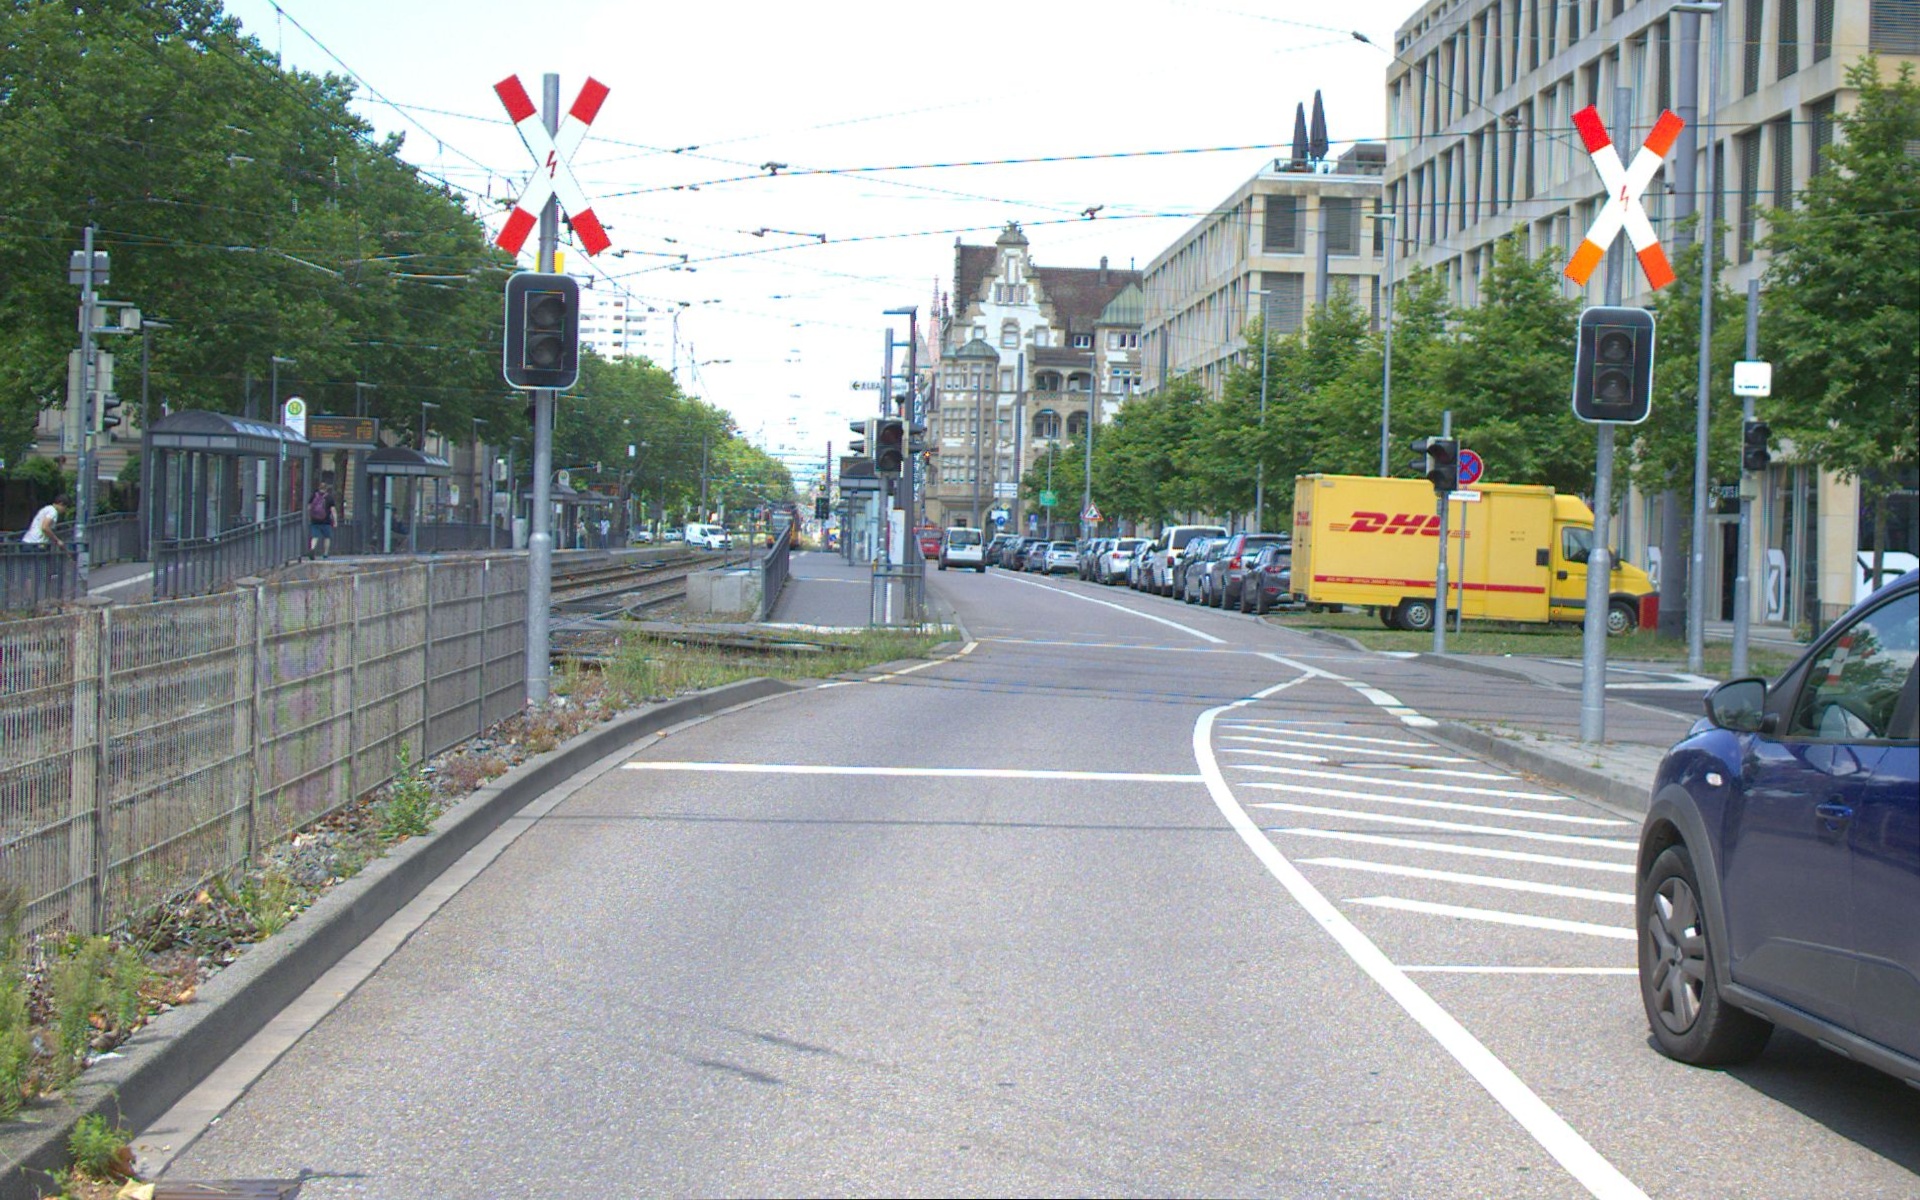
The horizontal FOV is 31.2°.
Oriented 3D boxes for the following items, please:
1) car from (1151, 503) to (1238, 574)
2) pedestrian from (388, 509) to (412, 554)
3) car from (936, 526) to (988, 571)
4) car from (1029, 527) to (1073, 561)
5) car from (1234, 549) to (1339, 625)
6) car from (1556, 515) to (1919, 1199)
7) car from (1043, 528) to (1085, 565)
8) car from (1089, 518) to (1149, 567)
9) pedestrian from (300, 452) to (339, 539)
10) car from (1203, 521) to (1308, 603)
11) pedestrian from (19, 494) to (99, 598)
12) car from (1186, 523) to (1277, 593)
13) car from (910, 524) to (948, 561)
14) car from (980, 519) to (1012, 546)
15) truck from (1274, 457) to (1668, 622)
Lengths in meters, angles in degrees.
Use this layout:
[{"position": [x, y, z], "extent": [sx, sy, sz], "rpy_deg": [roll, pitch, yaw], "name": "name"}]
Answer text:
[{"position": [6.446, -1.714, 94.907], "extent": [1.881, 1.932, 4.844], "rpy_deg": [0, 1, -2], "name": "car"}, {"position": [-15.961, -1.966, 97.986], "extent": [0.552, 1.265, 0.768], "rpy_deg": [1, 1, 0], "name": "pedestrian"}, {"position": [0.060, -2.128, 140.959], "extent": [1.868, 1.740, 4.001], "rpy_deg": [3, 1, -3], "name": "car"}, {"position": [4.231, -2.616, 160.091], "extent": [1.591, 1.429, 4.108], "rpy_deg": [3, 1, -4], "name": "car"}, {"position": [6.925, -0.306, 73.211], "extent": [1.691, 1.499, 4.069], "rpy_deg": [1, 1, -2], "name": "car"}, {"position": [2.935, 0.555, 8.833], "extent": [1.779, 1.535, 4.422], "rpy_deg": [0, 2, -4], "name": "car"}, {"position": [4.477, -2.329, 148.566], "extent": [1.591, 1.455, 3.613], "rpy_deg": [3, 2, -1], "name": "car"}, {"position": [5.360, -1.961, 115.982], "extent": [1.685, 1.600, 4.152], "rpy_deg": [0, 1, -2], "name": "car"}, {"position": [-13.757, -2.242, 73.814], "extent": [0.706, 1.838, 0.865], "rpy_deg": [0, 1, -3], "name": "pedestrian"}, {"position": [6.714, -0.892, 78.517], "extent": [1.769, 1.761, 4.840], "rpy_deg": [1, 1, -2], "name": "car"}, {"position": [-11.784, -0.706, 44.972], "extent": [0.861, 1.339, 0.923], "rpy_deg": [0, 1, -5], "name": "pedestrian"}, {"position": [6.578, -1.044, 83.624], "extent": [1.721, 1.614, 3.860], "rpy_deg": [1, 1, -2], "name": "car"}, {"position": [-1.701, -3.168, 188.781], "extent": [1.993, 2.007, 4.000], "rpy_deg": [0, 1, -2], "name": "car"}, {"position": [1.959, -3.682, 187.033], "extent": [1.443, 1.465, 4.093], "rpy_deg": [-1, 2, -4], "name": "car"}, {"position": [9.434, -1.128, 63.900], "extent": [6.805, 2.857, 2.455], "rpy_deg": [1, 1, -4], "name": "truck"}]
